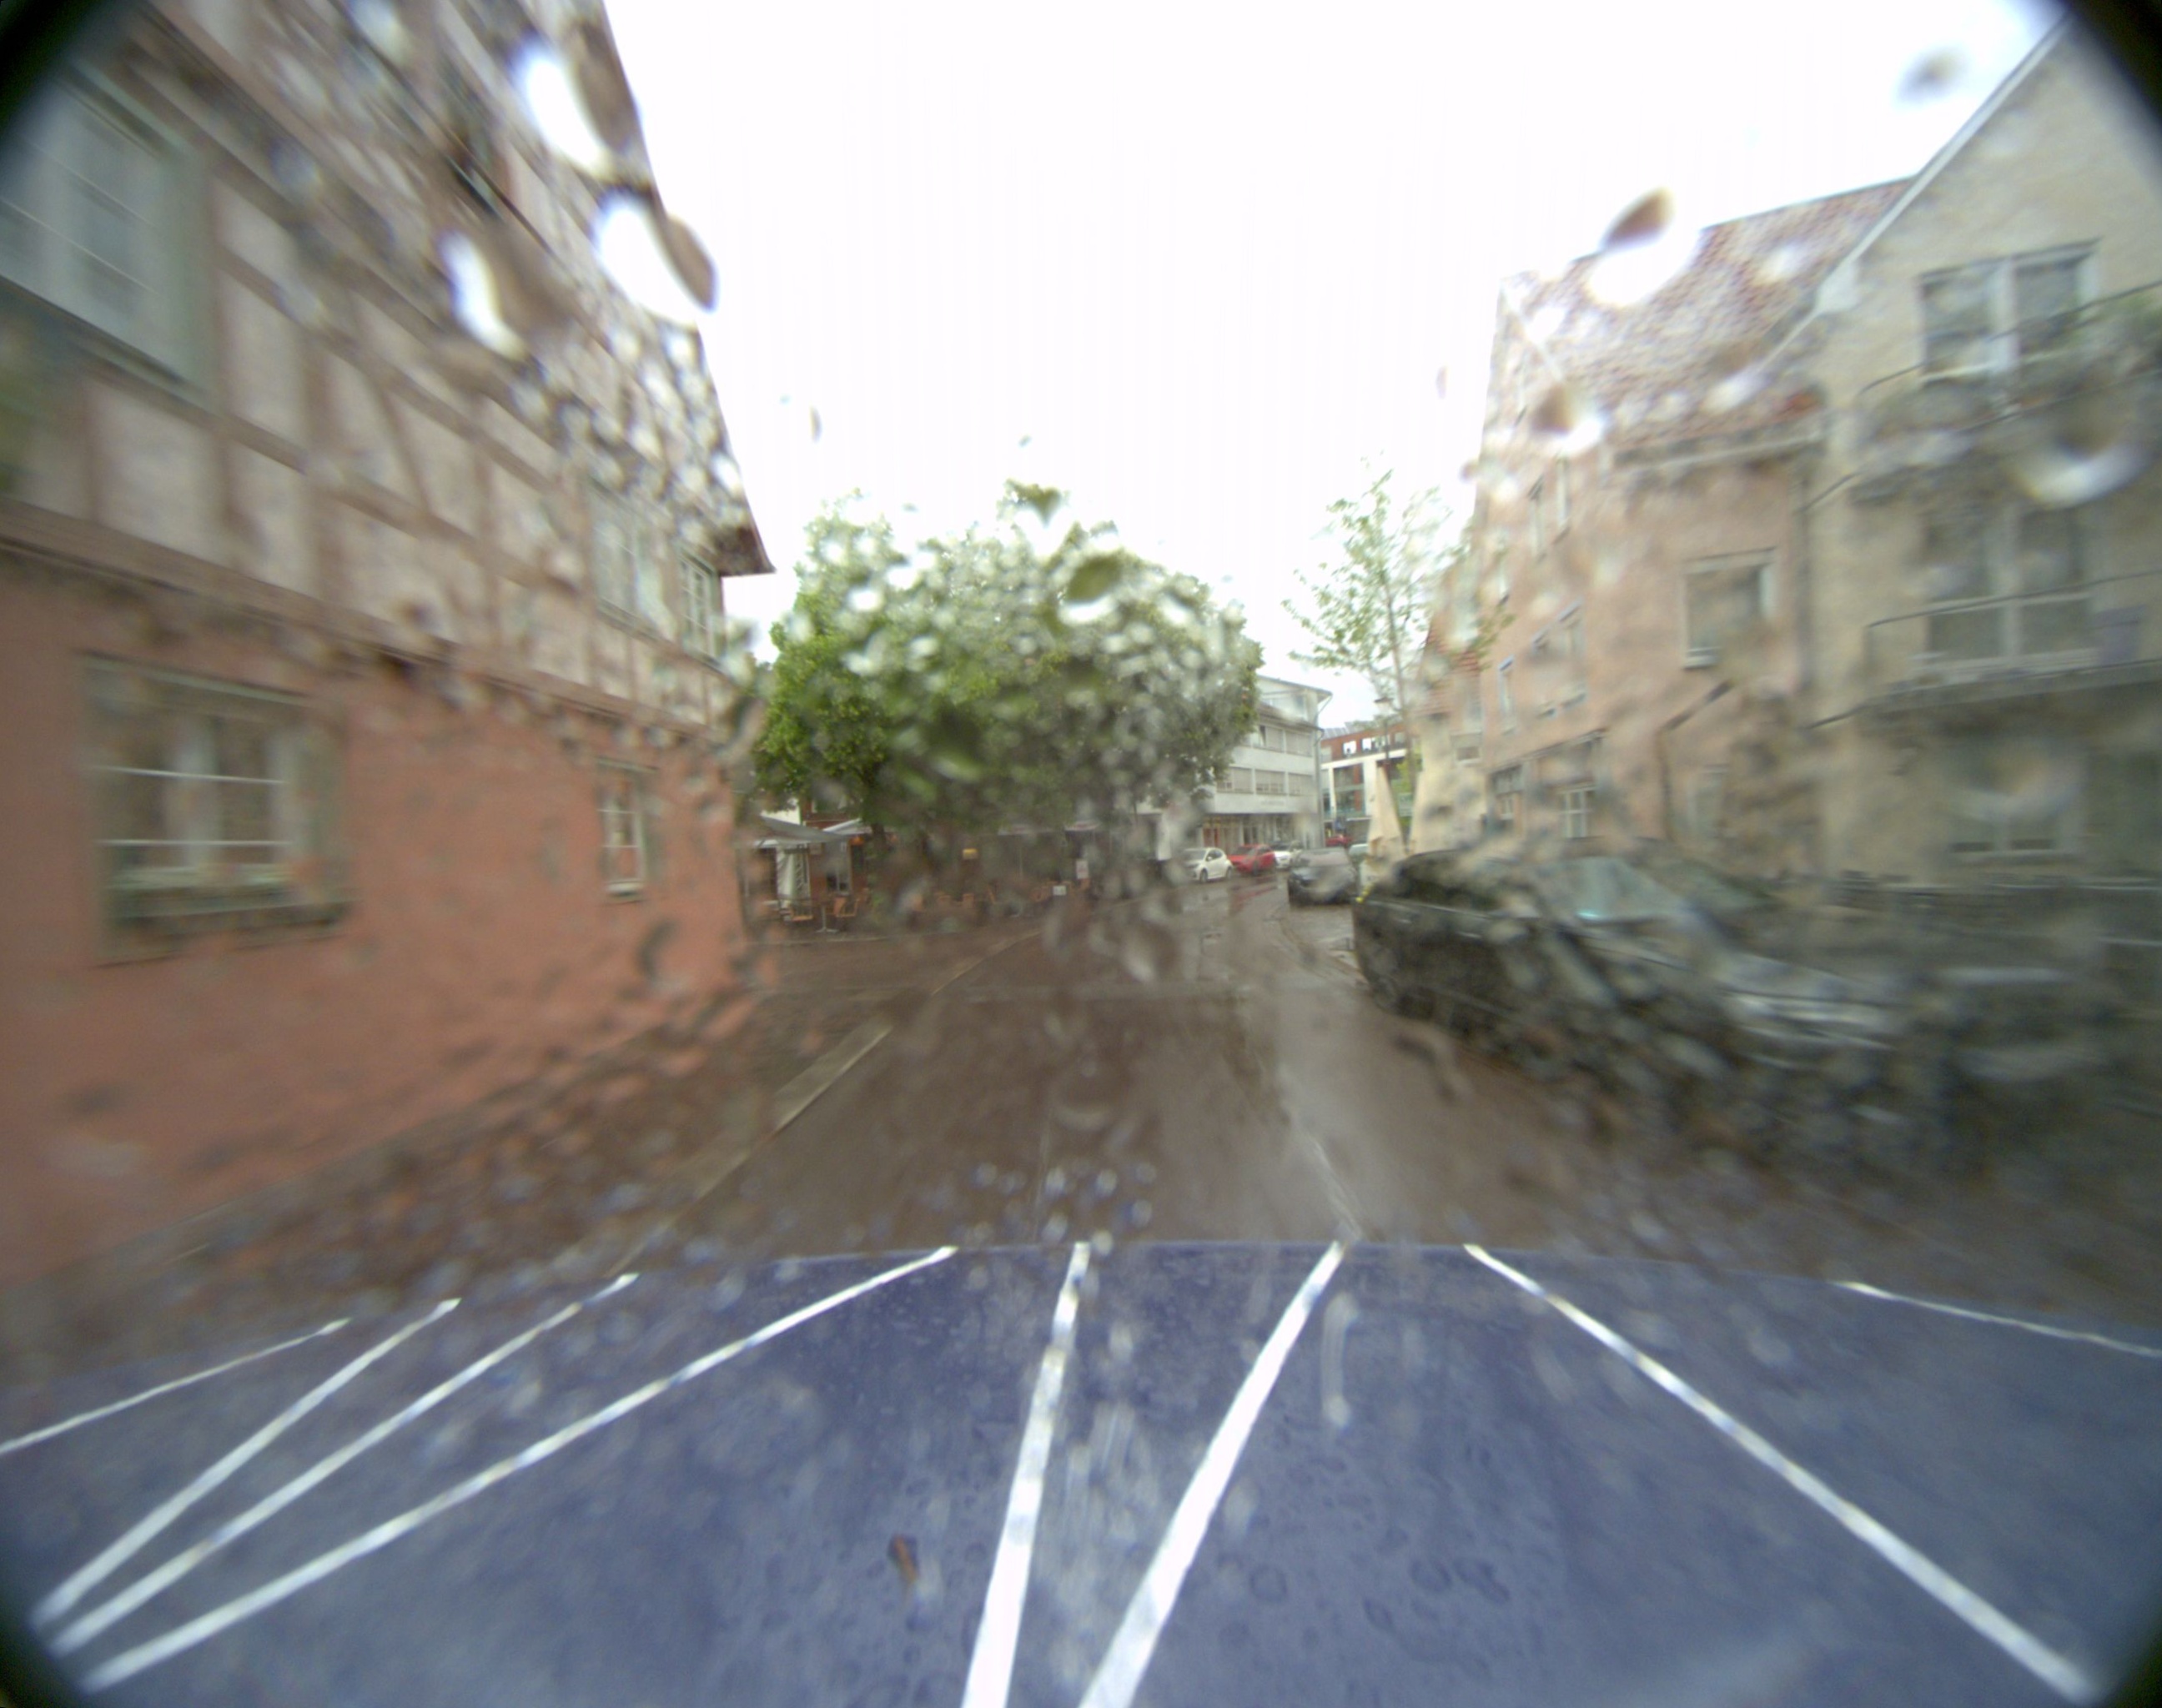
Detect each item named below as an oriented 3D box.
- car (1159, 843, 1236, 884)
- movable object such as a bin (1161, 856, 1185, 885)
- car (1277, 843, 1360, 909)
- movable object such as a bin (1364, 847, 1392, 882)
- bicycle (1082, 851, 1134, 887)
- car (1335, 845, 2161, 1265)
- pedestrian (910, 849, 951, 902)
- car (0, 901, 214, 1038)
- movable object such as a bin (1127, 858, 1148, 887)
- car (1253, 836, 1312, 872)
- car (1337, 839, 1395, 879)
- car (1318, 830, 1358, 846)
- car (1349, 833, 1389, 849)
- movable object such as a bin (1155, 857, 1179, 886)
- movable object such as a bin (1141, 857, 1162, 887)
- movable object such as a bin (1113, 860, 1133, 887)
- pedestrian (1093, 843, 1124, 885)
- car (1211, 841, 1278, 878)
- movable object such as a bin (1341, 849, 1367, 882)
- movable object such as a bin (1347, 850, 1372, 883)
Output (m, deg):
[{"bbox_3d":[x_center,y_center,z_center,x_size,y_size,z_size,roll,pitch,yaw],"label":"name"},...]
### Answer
[{"bbox_3d":[5.154,0.380,33.251,1.788,1.547,3.956,-2,2,34],"label":"car"},{"bbox_3d":[3.729,0.657,30.720,0.726,1.087,0.611,-4,3,24],"label":"movable object such as a bin"},{"bbox_3d":[6.614,0.521,20.913,1.878,1.531,4.406,-4,0,20],"label":"car"},{"bbox_3d":[10.488,0.369,26.856,0.700,1.115,0.720,-6,1,32],"label":"movable object such as a bin"},{"bbox_3d":[1.162,0.603,32.046,0.925,1.343,2.220,0,3,44],"label":"bicycle"},{"bbox_3d":[3.598,0.750,5.171,1.867,1.433,4.618,-4,0,-4],"label":"car"},{"bbox_3d":[-5.117,0.734,25.829,0.891,1.704,0.885,-7,3,-45],"label":"pedestrian"},{"bbox_3d":[-15.526,1.599,10.553,4.612,1.623,2.000,-2,-1,0],"label":"car"},{"bbox_3d":[2.293,0.746,30.925,0.538,1.124,0.729,-1,2,31],"label":"movable object such as a bin"},{"bbox_3d":[11.320,-0.044,42.461,1.789,1.590,4.446,-3,2,34],"label":"car"},{"bbox_3d":[11.762,0.156,31.165,1.851,1.443,4.079,-4,-1,25],"label":"car"},{"bbox_3d":[27.559,-1.731,81.542,1.805,1.546,3.914,-5,2,-22],"label":"car"},{"bbox_3d":[29.146,-1.335,76.893,1.681,1.428,3.578,-5,2,-23],"label":"car"},{"bbox_3d":[3.405,0.702,30.123,0.726,1.077,0.605,-4,3,24],"label":"movable object such as a bin"},{"bbox_3d":[2.832,0.724,30.593,0.538,1.136,0.729,-1,2,31],"label":"movable object such as a bin"},{"bbox_3d":[1.732,0.781,31.362,0.538,1.077,0.729,-1,2,31],"label":"movable object such as a bin"},{"bbox_3d":[1.161,0.410,32.079,0.910,1.689,0.863,0,4,44],"label":"pedestrian"},{"bbox_3d":[8.169,0.244,37.753,1.789,1.460,3.955,-3,2,35],"label":"car"},{"bbox_3d":[9.781,0.419,27.198,0.700,1.137,0.720,-3,0,32],"label":"movable object such as a bin"},{"bbox_3d":[10.212,0.452,27.864,0.682,1.129,0.720,-3,1,33],"label":"movable object such as a bin"}]
